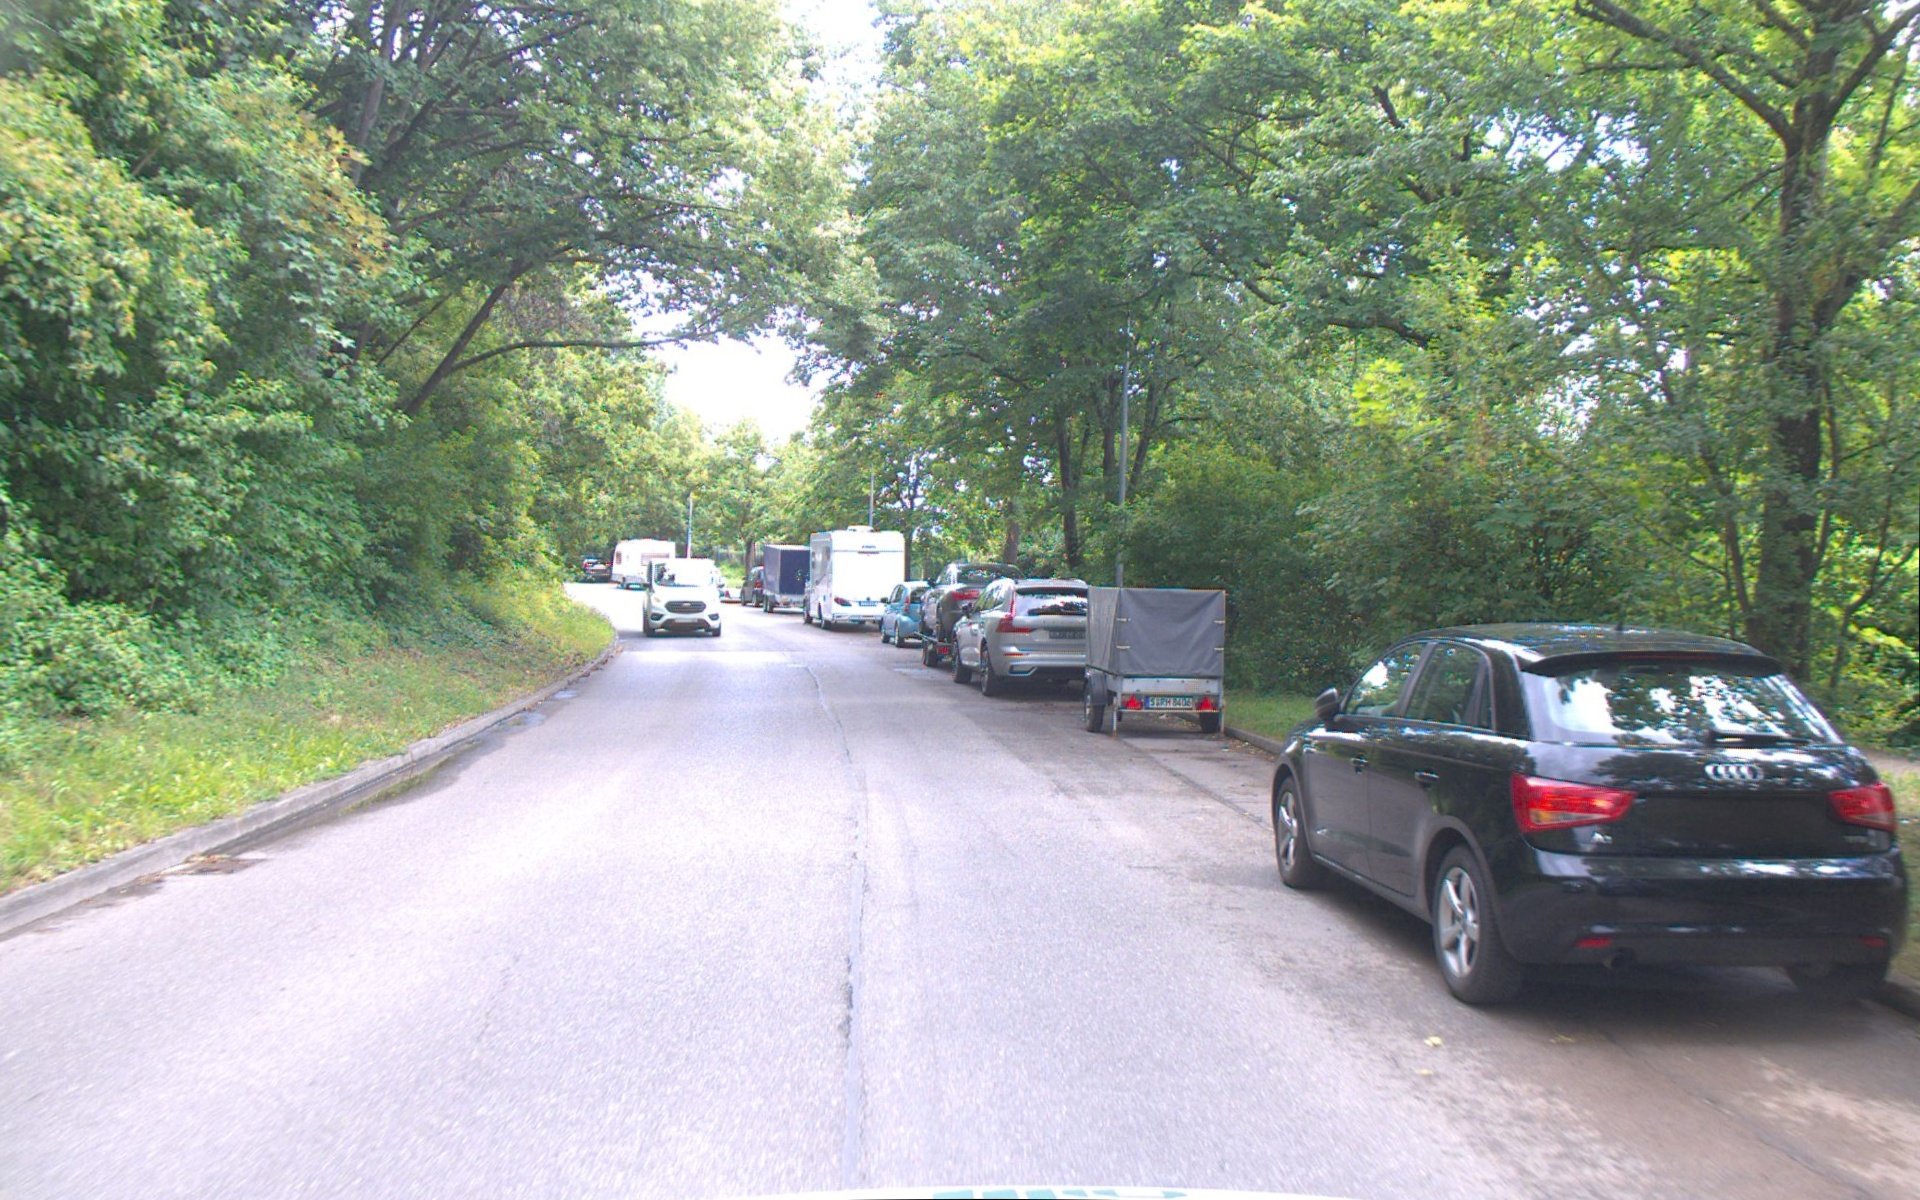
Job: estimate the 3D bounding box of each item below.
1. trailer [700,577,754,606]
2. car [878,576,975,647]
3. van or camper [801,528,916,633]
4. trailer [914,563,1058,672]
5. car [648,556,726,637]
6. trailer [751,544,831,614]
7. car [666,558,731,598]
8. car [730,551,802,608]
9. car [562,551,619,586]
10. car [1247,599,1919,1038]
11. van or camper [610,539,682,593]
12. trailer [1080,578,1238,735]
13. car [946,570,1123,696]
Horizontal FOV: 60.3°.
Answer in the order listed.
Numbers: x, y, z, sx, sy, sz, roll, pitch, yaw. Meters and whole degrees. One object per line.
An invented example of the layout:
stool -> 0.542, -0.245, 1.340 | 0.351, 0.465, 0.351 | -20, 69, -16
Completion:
trailer -> -9.834, -0.392, 69.701 | 1.626, 1.105, 3.981 | -1, 2, -18
car -> -0.867, 0.236, 40.239 | 1.767, 1.589, 3.826 | 1, 1, -10
van or camper -> -3.194, -0.595, 50.386 | 2.439, 2.926, 6.868 | 1, 0, -12
trailer -> 0.380, 0.249, 30.960 | 1.942, 1.843, 5.140 | 1, 1, -8
car -> -7.324, -0.128, 44.720 | 1.911, 2.019, 4.494 | 2, 1, -8
trailer -> -6.250, -0.767, 60.800 | 1.964, 2.440, 3.977 | 1, 1, -20
car -> -12.451, -1.068, 78.602 | 2.009, 1.835, 4.050 | 0, 1, -25
car -> -7.788, -0.859, 66.085 | 1.965, 2.061, 3.976 | -2, 3, -21
car -> -21.321, -1.851, 95.228 | 1.975, 1.901, 3.955 | -1, 3, -33
car -> 2.687, 0.769, 7.691 | 1.687, 1.478, 3.913 | 2, 0, -5
van or camper -> -16.424, -1.803, 86.294 | 2.497, 2.744, 4.534 | 0, 2, -28
trailer -> 2.175, 0.580, 18.525 | 1.253, 1.612, 2.458 | 2, 0, -5
car -> 1.014, 0.480, 24.836 | 1.759, 1.699, 4.492 | 1, -1, -9
